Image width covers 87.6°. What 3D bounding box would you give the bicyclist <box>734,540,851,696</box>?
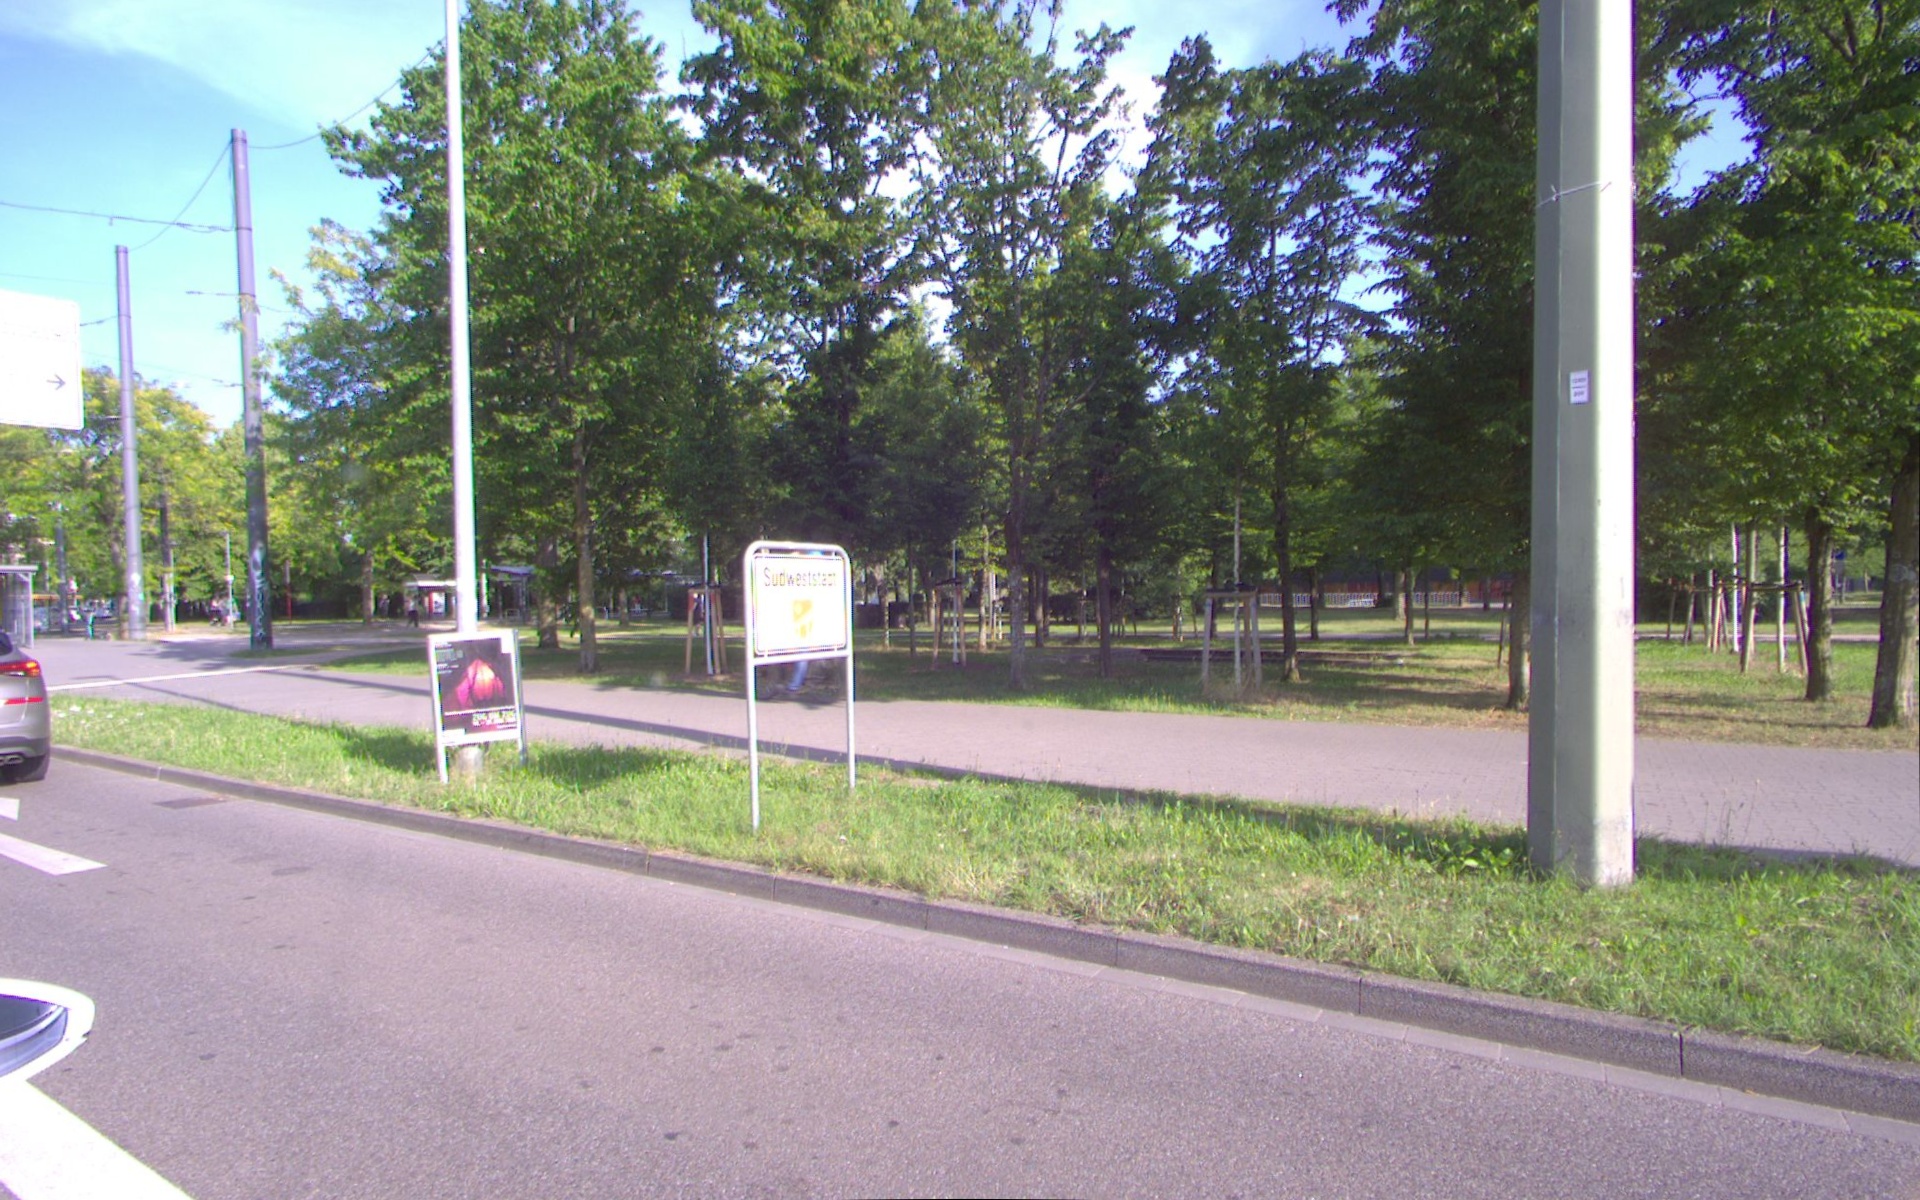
[{"bbox_3d":[-2.007,0.198,11.987,1.125,1.770,0.717,0,4,36],"label":"bicyclist"}]

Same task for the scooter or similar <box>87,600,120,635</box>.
[{"bbox_3d":[-31.432,0.637,36.745,1.115,1.248,0.351,0,1,18],"label":"scooter or similar"}]

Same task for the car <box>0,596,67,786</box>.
[{"bbox_3d":[-10.063,0.789,9.195,3.760,1.621,1.832,0,-1,32],"label":"car"}]

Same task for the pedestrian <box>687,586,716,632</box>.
[{"bbox_3d":[-10.241,0.350,39.650,0.867,1.800,0.670,0,-1,33],"label":"pedestrian"}]

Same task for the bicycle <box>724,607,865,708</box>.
[{"bbox_3d":[-2.018,0.663,12.108,1.711,1.103,0.638,0,3,36],"label":"bicycle"}]

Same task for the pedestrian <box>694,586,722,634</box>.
[{"bbox_3d":[-10.168,0.412,40.388,0.868,1.922,0.670,0,-1,33],"label":"pedestrian"}]

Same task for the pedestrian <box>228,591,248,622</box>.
[{"bbox_3d":[-39.795,0.351,55.167,0.681,1.688,0.639,0,1,32],"label":"pedestrian"}]

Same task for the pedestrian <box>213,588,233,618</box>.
[{"bbox_3d":[-40.908,0.169,55.569,0.681,1.688,0.639,0,1,32],"label":"pedestrian"}]

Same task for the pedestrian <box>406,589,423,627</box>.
[{"bbox_3d":[-27.622,0.420,50.672,0.594,1.891,0.462,0,-1,-4],"label":"pedestrian"}]
